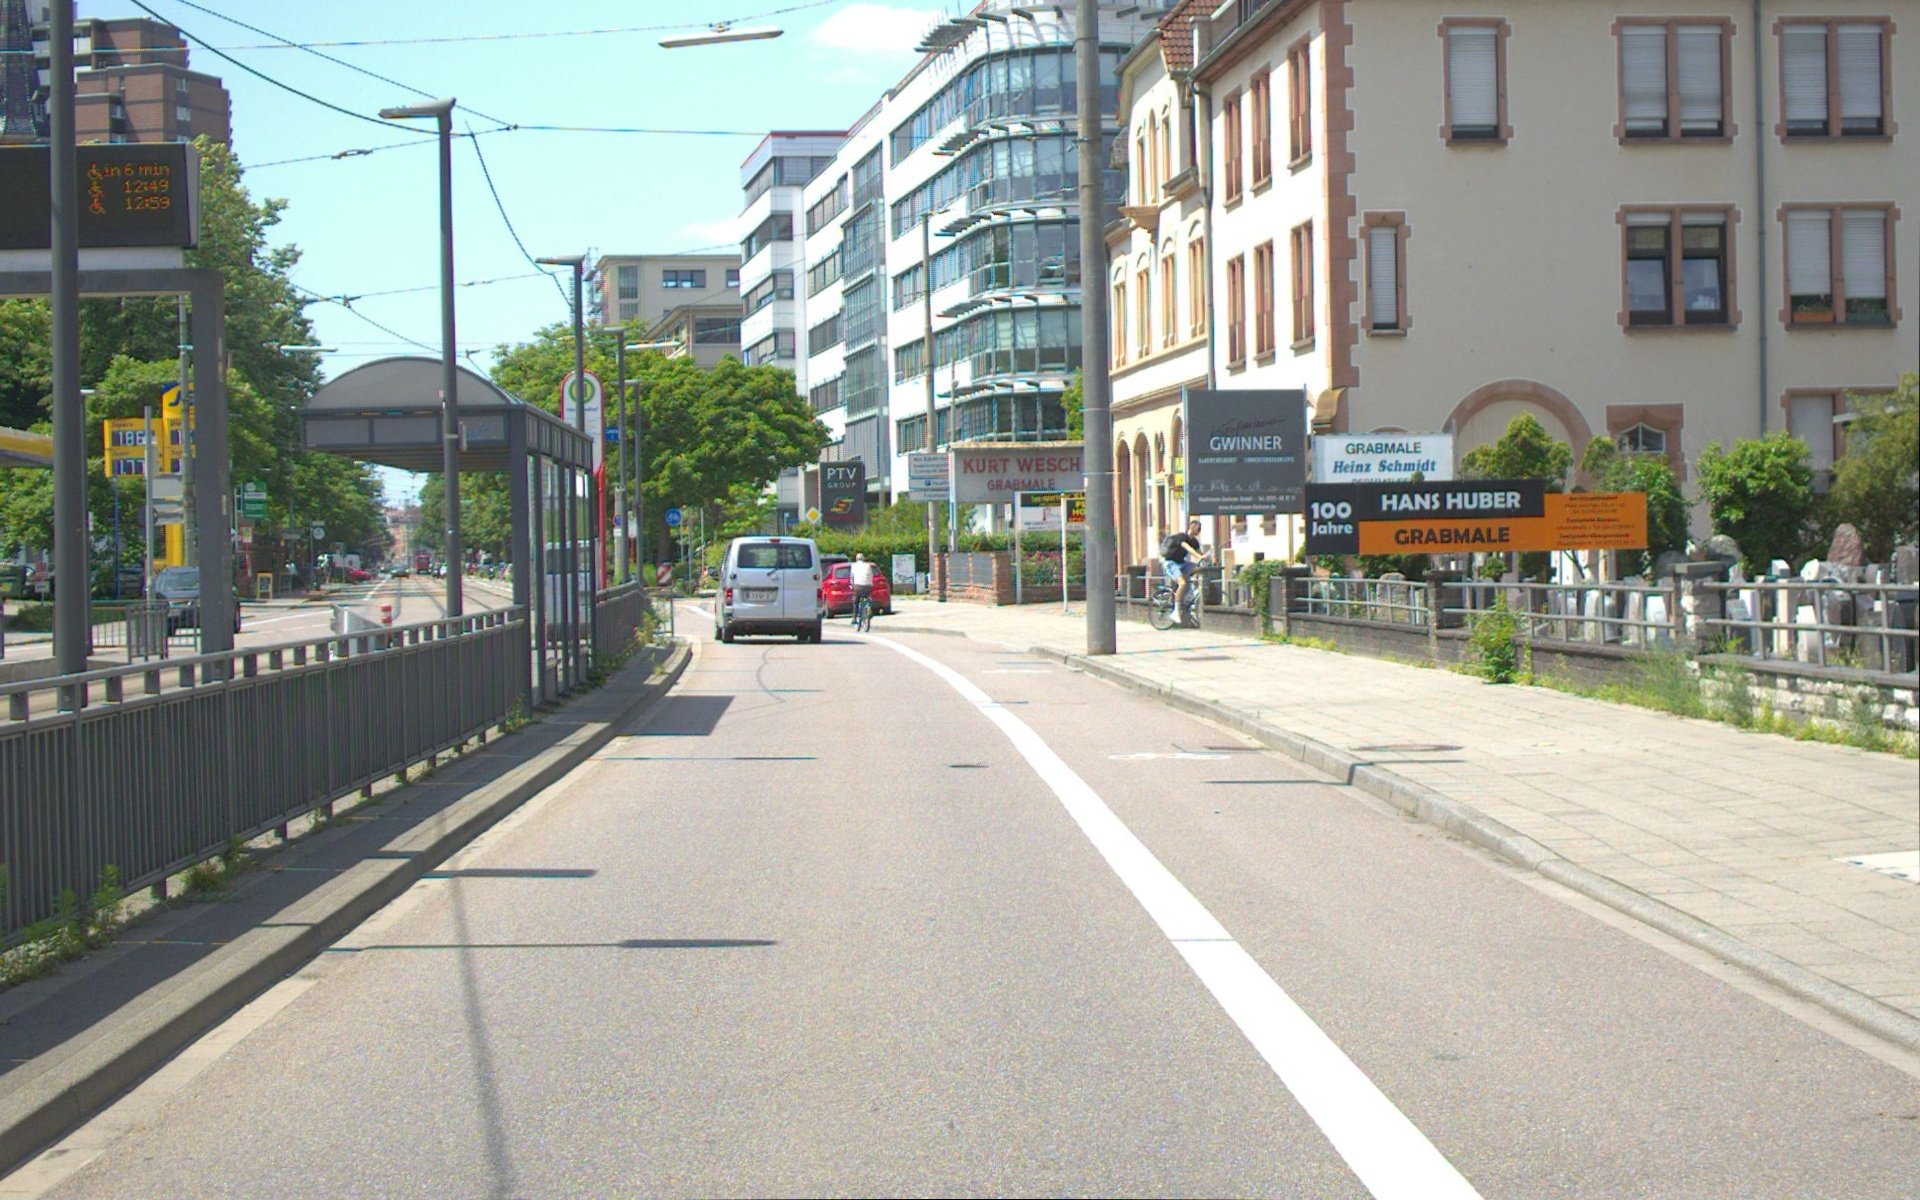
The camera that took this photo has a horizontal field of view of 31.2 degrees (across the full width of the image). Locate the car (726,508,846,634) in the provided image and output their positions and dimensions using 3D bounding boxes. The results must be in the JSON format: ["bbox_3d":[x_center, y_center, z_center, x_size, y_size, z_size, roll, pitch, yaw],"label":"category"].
[{"bbox_3d":[-3.083,-0.550,60.304,1.752,2.006,4.001,-4,2,-6],"label":"car"}]

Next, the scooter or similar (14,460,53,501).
[{"bbox_3d":[-34.936,-4.510,129.697,1.172,1.461,1.059,-2,1,-4],"label":"scooter or similar"}]

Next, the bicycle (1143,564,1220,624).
[{"bbox_3d":[3.772,-0.102,58.612,1.316,0.937,0.356,-4,0,43],"label":"bicycle"}]

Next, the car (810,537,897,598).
[{"bbox_3d":[-2.864,-0.886,91.542,1.711,1.447,4.073,-4,2,-9],"label":"car"}]

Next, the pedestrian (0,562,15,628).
[{"bbox_3d":[-24.699,-0.131,88.336,0.580,1.665,0.667,-2,1,-1],"label":"pedestrian"}]

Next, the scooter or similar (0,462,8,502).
[{"bbox_3d":[-36.769,-4.436,129.735,1.314,1.461,1.059,-2,1,3],"label":"scooter or similar"}]

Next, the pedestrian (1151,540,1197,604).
[{"bbox_3d":[3.651,-0.478,58.631,0.484,1.050,0.536,-4,0,-43],"label":"pedestrian"}]

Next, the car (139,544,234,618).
[{"bbox_3d":[-18.410,-0.466,81.933,1.698,1.610,3.759,-3,2,-5],"label":"car"}]

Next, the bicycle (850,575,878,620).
[{"bbox_3d":[-2.018,-0.064,72.036,0.465,0.884,2.048,-2,2,-4],"label":"bicycle"}]

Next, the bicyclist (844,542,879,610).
[{"bbox_3d":[-2.064,-0.505,72.012,0.591,1.392,0.842,-2,2,-9],"label":"bicyclist"}]
